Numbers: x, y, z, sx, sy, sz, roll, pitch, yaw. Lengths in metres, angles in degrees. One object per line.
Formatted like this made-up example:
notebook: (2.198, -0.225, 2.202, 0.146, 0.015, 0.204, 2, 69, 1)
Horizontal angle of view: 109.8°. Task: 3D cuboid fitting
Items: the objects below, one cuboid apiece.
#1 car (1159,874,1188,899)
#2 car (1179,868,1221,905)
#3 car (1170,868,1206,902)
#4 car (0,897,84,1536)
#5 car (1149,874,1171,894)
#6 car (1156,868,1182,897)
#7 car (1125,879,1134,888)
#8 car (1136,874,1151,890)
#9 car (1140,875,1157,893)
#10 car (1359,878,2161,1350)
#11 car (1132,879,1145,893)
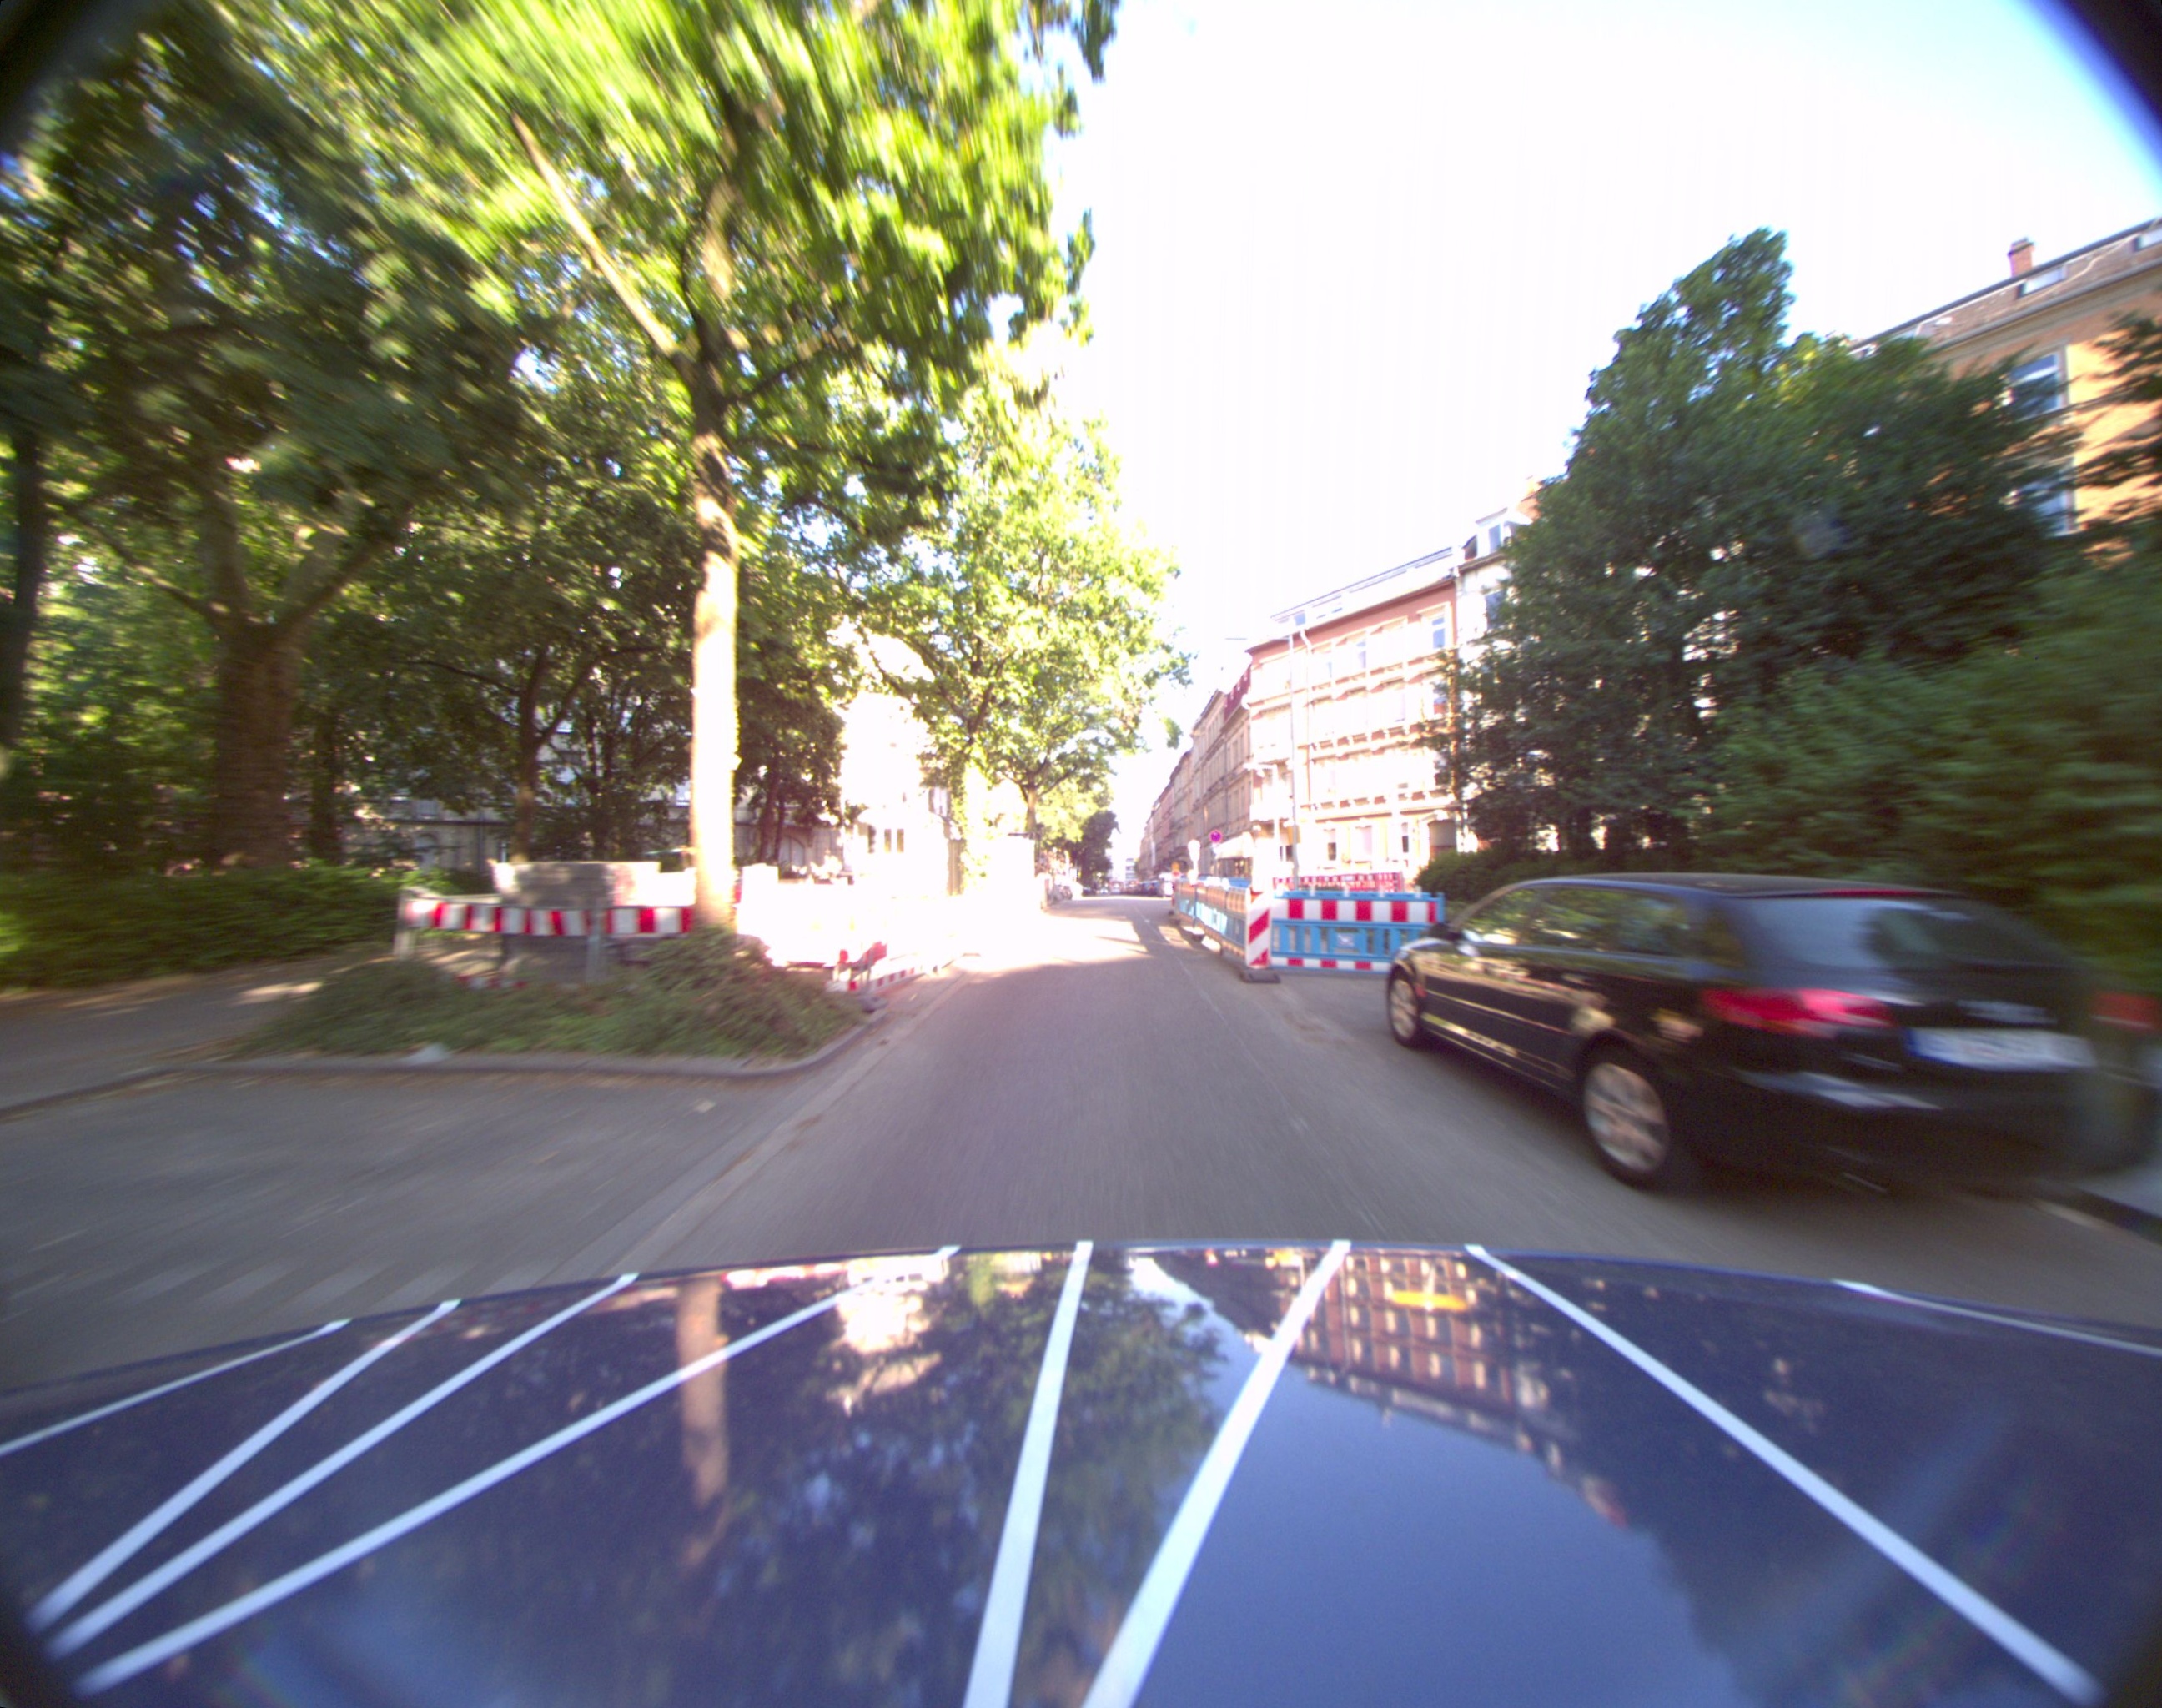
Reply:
car: (6.666, 2.313, 55.037, 1.703, 1.560, 4.194, 1, 0, 2)
car: (6.279, 1.669, 40.463, 1.703, 1.794, 4.194, 1, 0, 2)
car: (6.331, 1.820, 45.266, 1.703, 1.829, 4.194, 1, 0, 2)
car: (-4.732, 0.991, 1.083, 3.998, 1.618, 1.798, -2, 0, -3)
car: (7.296, 2.763, 70.510, 1.703, 1.740, 4.194, 1, 0, 2)
car: (6.984, 2.233, 60.342, 1.703, 2.103, 4.194, 1, 0, 2)
car: (10.253, 6.223, 160.605, 1.703, 1.740, 4.194, 1, 0, 2)
car: (7.939, 3.523, 96.066, 1.703, 1.740, 4.194, 1, 0, 2)
car: (7.513, 3.345, 84.928, 1.703, 1.740, 4.194, 1, 0, 2)
car: (3.231, 0.921, 4.587, 1.703, 1.391, 4.194, 1, 0, 2)
car: (8.223, 4.607, 109.593, 1.703, 1.740, 4.194, 1, 0, 2)
